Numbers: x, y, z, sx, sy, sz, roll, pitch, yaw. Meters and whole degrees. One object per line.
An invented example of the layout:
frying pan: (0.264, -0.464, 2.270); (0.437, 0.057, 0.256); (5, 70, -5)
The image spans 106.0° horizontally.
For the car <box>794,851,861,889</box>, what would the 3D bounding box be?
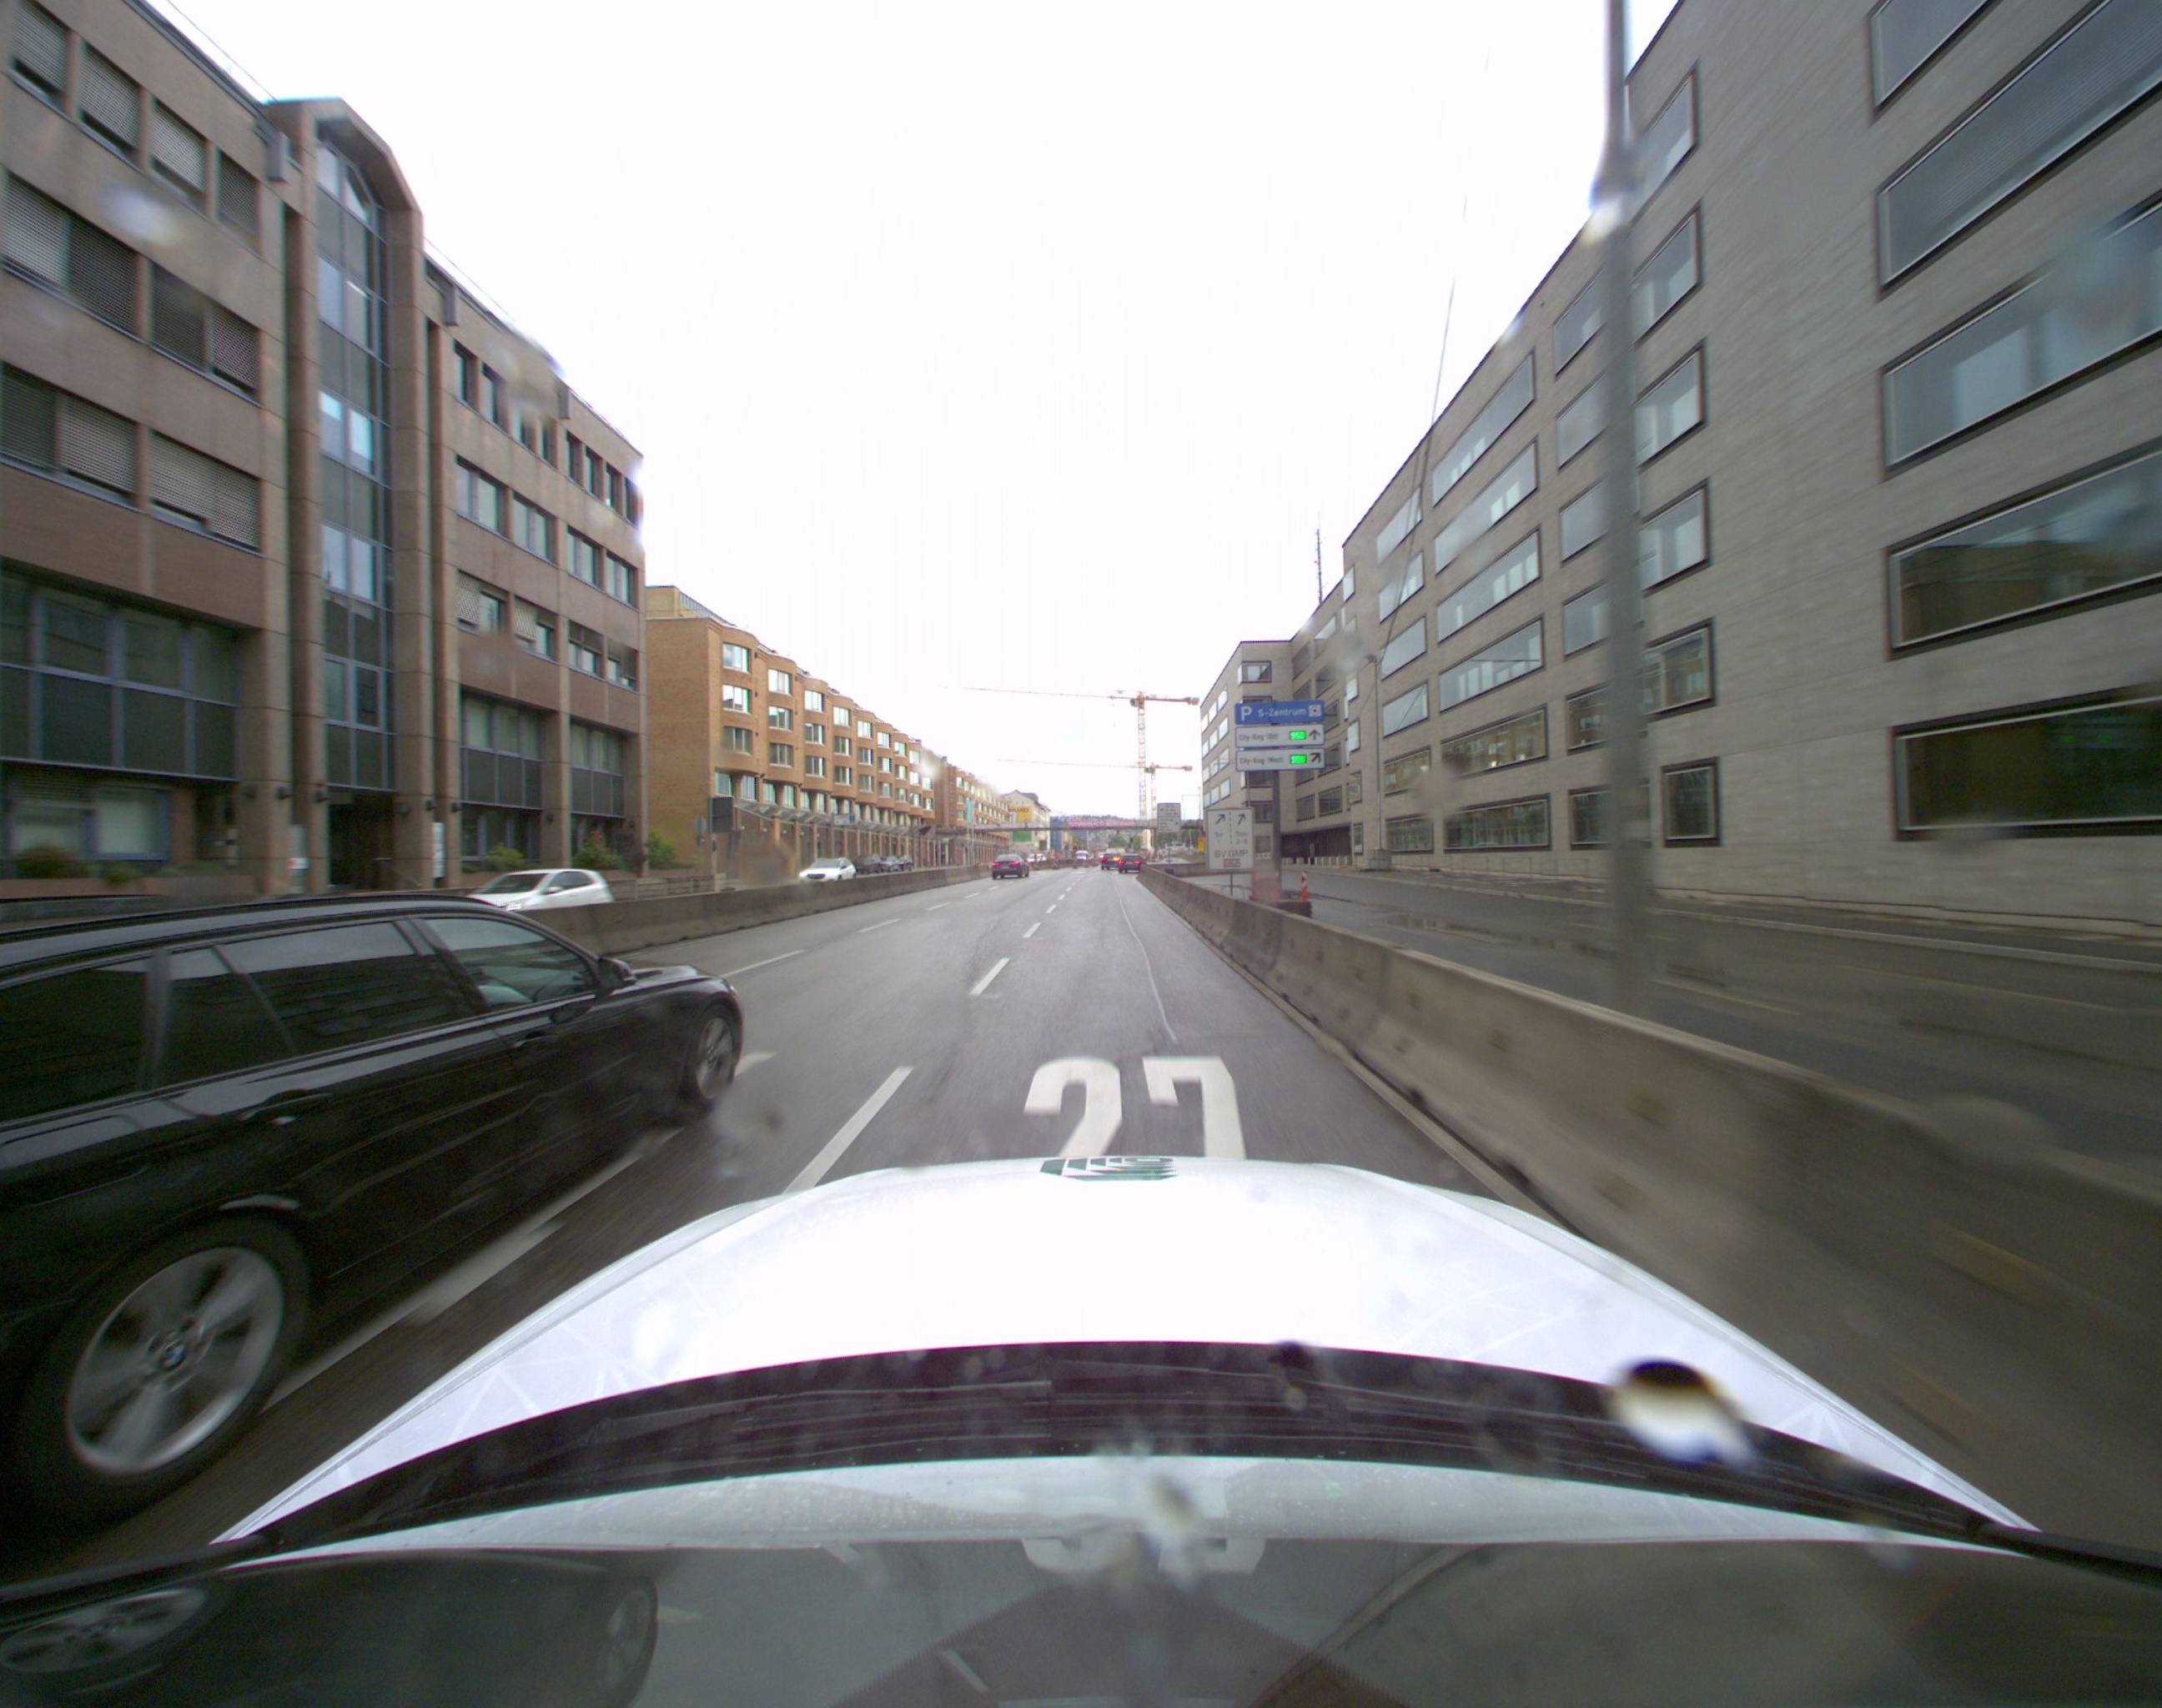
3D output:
car: (-12.423, 0.745, 40.168); (1.813, 1.618, 4.194); (-2, 2, 2)

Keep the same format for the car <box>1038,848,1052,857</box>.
car: (-6.561, -0.247, 149.650); (1.984, 1.620, 4.768); (-2, 0, 4)

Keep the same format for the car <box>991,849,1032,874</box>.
car: (-4.227, 0.422, 50.114); (1.782, 1.426, 4.389); (-2, 0, 4)

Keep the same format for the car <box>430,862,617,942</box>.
car: (-12.415, 0.992, 18.446); (1.597, 1.442, 3.658); (-2, 2, 1)

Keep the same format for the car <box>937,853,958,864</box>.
car: (-19.449, 0.657, 118.927); (1.986, 1.620, 4.692); (-2, 0, 2)

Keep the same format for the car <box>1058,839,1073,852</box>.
car: (-2.360, -1.229, 123.053); (1.986, 1.826, 4.765); (-2, 0, 2)

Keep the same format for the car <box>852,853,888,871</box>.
car: (-20.015, 0.724, 77.414); (1.986, 1.620, 4.765); (-2, 0, 2)

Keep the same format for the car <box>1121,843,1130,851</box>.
car: (10.067, -1.571, 182.599); (1.891, 1.693, 4.005); (-2, 0, 5)

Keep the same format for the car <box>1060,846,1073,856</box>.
car: (-2.362, -0.447, 136.295); (1.987, 1.620, 4.763); (-2, 0, 1)

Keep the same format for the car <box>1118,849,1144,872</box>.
car: (3.828, 0.485, 62.394); (1.892, 1.693, 4.004); (-2, 0, 3)

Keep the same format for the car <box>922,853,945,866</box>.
car: (-19.302, 0.739, 106.814); (1.986, 1.620, 4.692); (-2, 0, 2)

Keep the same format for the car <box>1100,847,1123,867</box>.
car: (2.809, 0.291, 75.314); (1.891, 1.693, 4.005); (-2, 0, 5)

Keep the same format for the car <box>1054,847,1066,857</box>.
car: (-4.229, -0.368, 166.474); (1.985, 2.013, 4.003); (-2, 0, 3)

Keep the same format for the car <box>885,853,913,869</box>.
car: (-19.968, 0.739, 89.590); (1.986, 1.620, 4.320); (-2, 0, 2)

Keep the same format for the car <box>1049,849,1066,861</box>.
car: (-3.187, 0.162, 111.779); (1.986, 1.620, 4.765); (-2, 0, 2)

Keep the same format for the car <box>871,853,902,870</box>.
car: (-20.241, 0.742, 84.721); (1.986, 1.620, 4.320); (-2, 0, 2)

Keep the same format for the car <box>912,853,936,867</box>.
car: (-19.550, 0.740, 101.545); (1.986, 1.620, 4.320); (-2, 0, 2)

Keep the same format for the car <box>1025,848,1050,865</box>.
car: (-4.529, 0.281, 85.344); (1.984, 1.620, 4.769); (-2, 0, 4)

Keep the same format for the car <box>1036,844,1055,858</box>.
car: (-4.368, -0.398, 101.306); (1.986, 1.620, 4.765); (-2, 0, 2)

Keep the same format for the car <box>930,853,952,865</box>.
car: (-19.396, 0.707, 112.810); (1.986, 1.620, 4.692); (-2, 0, 2)

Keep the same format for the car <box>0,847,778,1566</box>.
car: (-3.013, 0.714, 3.251); (1.785, 1.426, 4.614); (-1, 0, 1)
